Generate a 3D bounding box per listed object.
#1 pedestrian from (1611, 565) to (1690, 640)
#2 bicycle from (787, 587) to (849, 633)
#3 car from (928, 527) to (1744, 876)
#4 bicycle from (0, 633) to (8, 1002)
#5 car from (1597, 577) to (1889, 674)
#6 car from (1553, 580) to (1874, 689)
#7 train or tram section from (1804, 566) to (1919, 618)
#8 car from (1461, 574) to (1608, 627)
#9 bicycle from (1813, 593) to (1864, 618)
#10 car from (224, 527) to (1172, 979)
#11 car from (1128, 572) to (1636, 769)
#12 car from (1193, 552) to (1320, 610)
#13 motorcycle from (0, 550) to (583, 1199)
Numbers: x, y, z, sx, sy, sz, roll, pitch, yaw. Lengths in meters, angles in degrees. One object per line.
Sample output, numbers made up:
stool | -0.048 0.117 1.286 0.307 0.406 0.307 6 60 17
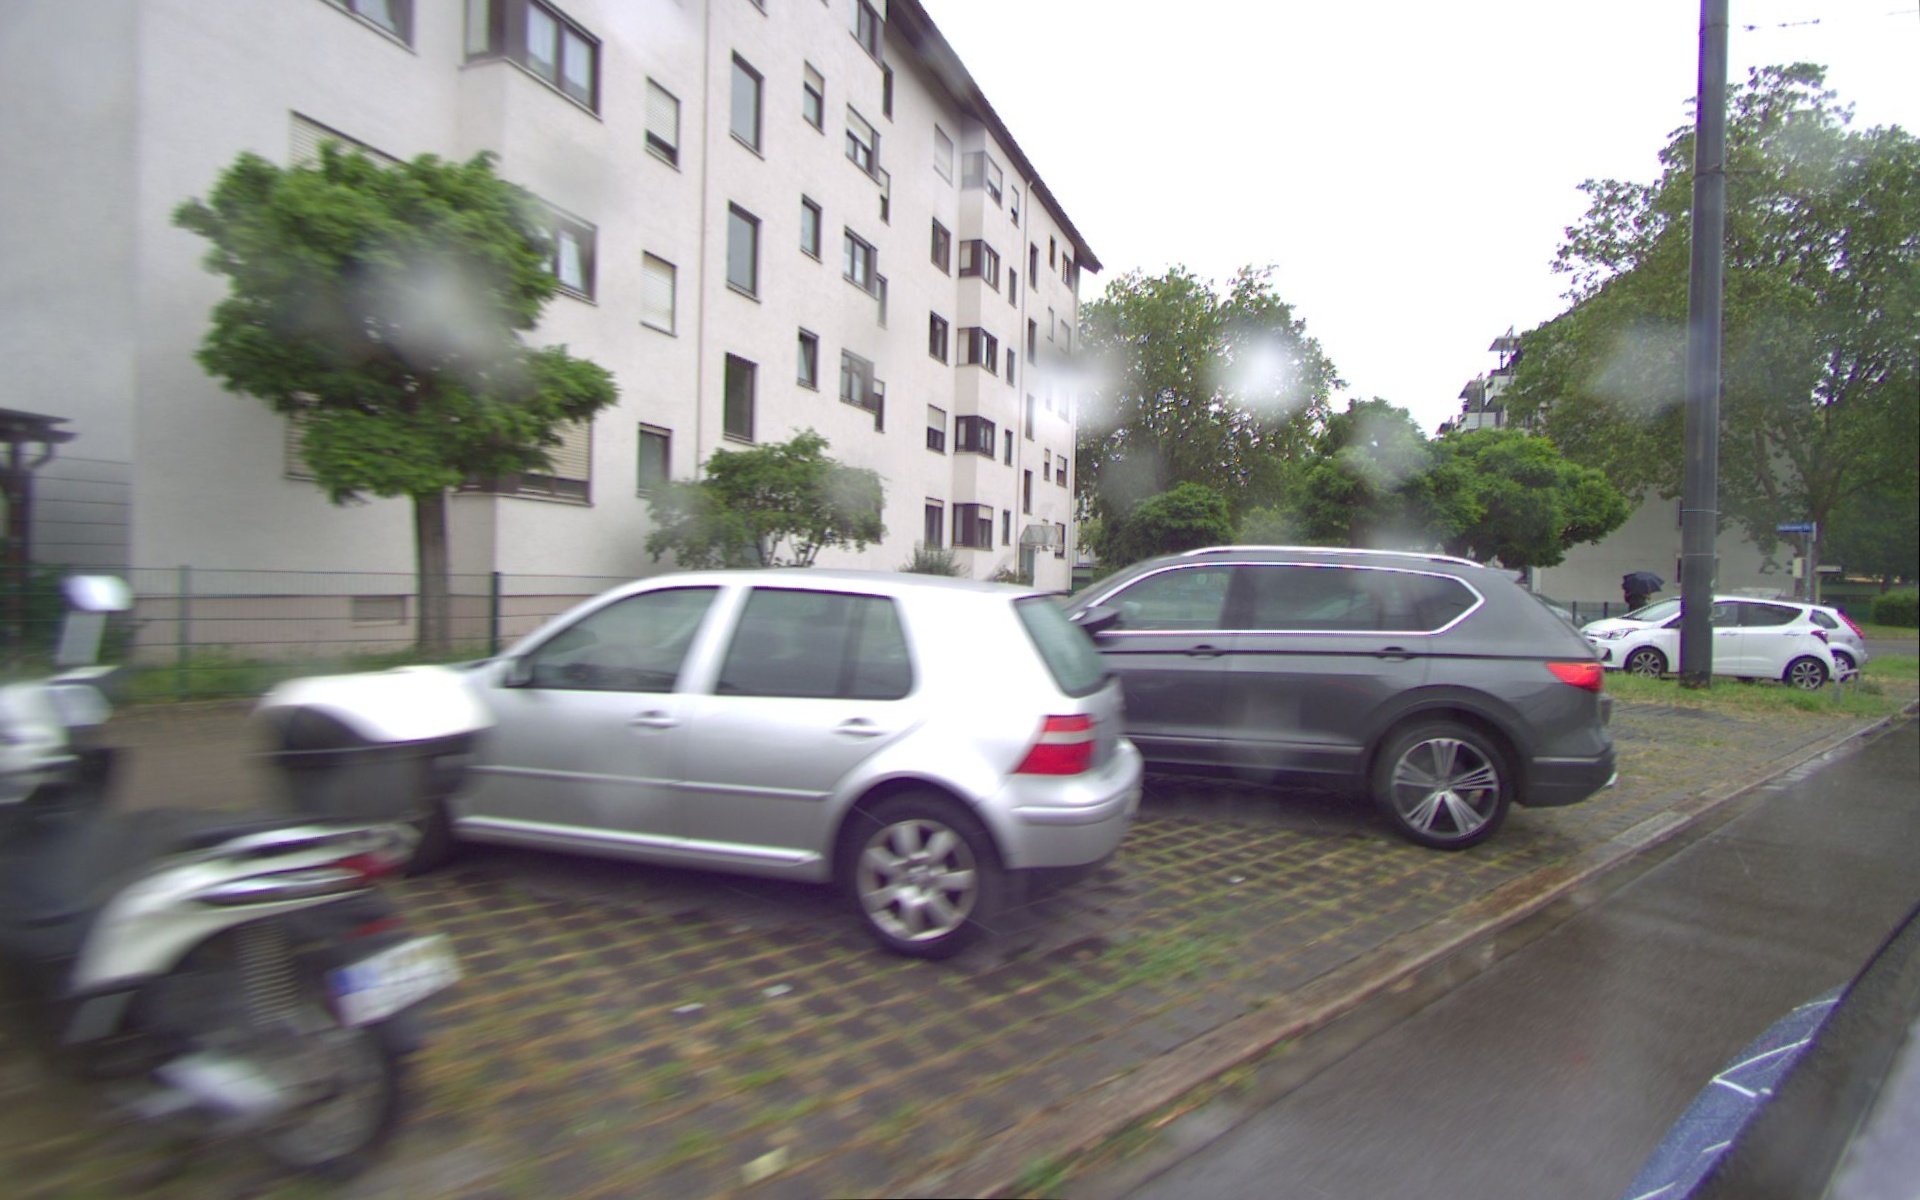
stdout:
pedestrian | 17.497 0.055 25.649 1.405 1.836 1.104 1 1 -31
bicycle | -2.839 0.175 20.343 0.486 0.858 1.560 2 2 23
car | 2.129 0.449 6.634 4.291 1.671 1.848 2 2 17
bicycle | -3.853 0.621 2.806 1.922 1.115 0.629 3 1 4
car | 14.780 0.424 19.365 3.941 1.526 1.778 2 4 14
car | 12.626 0.520 17.223 3.937 1.526 1.701 2 4 11
train or tram section | 63.016 -0.645 70.777 2.708 3.380 6.396 2 2 4
car | 20.973 -0.015 37.095 1.837 1.701 4.305 0 3 -39
bicycle | 43.942 0.281 50.634 1.841 1.156 0.529 2 1 24
car | -1.104 0.480 4.863 4.065 1.440 1.731 3 2 14
car | 3.581 0.536 9.297 3.934 1.446 1.731 2 2 9
car | 15.295 -1.054 52.552 2.147 2.813 6.136 1 2 -38
motorcycle | -1.918 0.584 2.483 1.754 1.353 0.686 3 2 14
